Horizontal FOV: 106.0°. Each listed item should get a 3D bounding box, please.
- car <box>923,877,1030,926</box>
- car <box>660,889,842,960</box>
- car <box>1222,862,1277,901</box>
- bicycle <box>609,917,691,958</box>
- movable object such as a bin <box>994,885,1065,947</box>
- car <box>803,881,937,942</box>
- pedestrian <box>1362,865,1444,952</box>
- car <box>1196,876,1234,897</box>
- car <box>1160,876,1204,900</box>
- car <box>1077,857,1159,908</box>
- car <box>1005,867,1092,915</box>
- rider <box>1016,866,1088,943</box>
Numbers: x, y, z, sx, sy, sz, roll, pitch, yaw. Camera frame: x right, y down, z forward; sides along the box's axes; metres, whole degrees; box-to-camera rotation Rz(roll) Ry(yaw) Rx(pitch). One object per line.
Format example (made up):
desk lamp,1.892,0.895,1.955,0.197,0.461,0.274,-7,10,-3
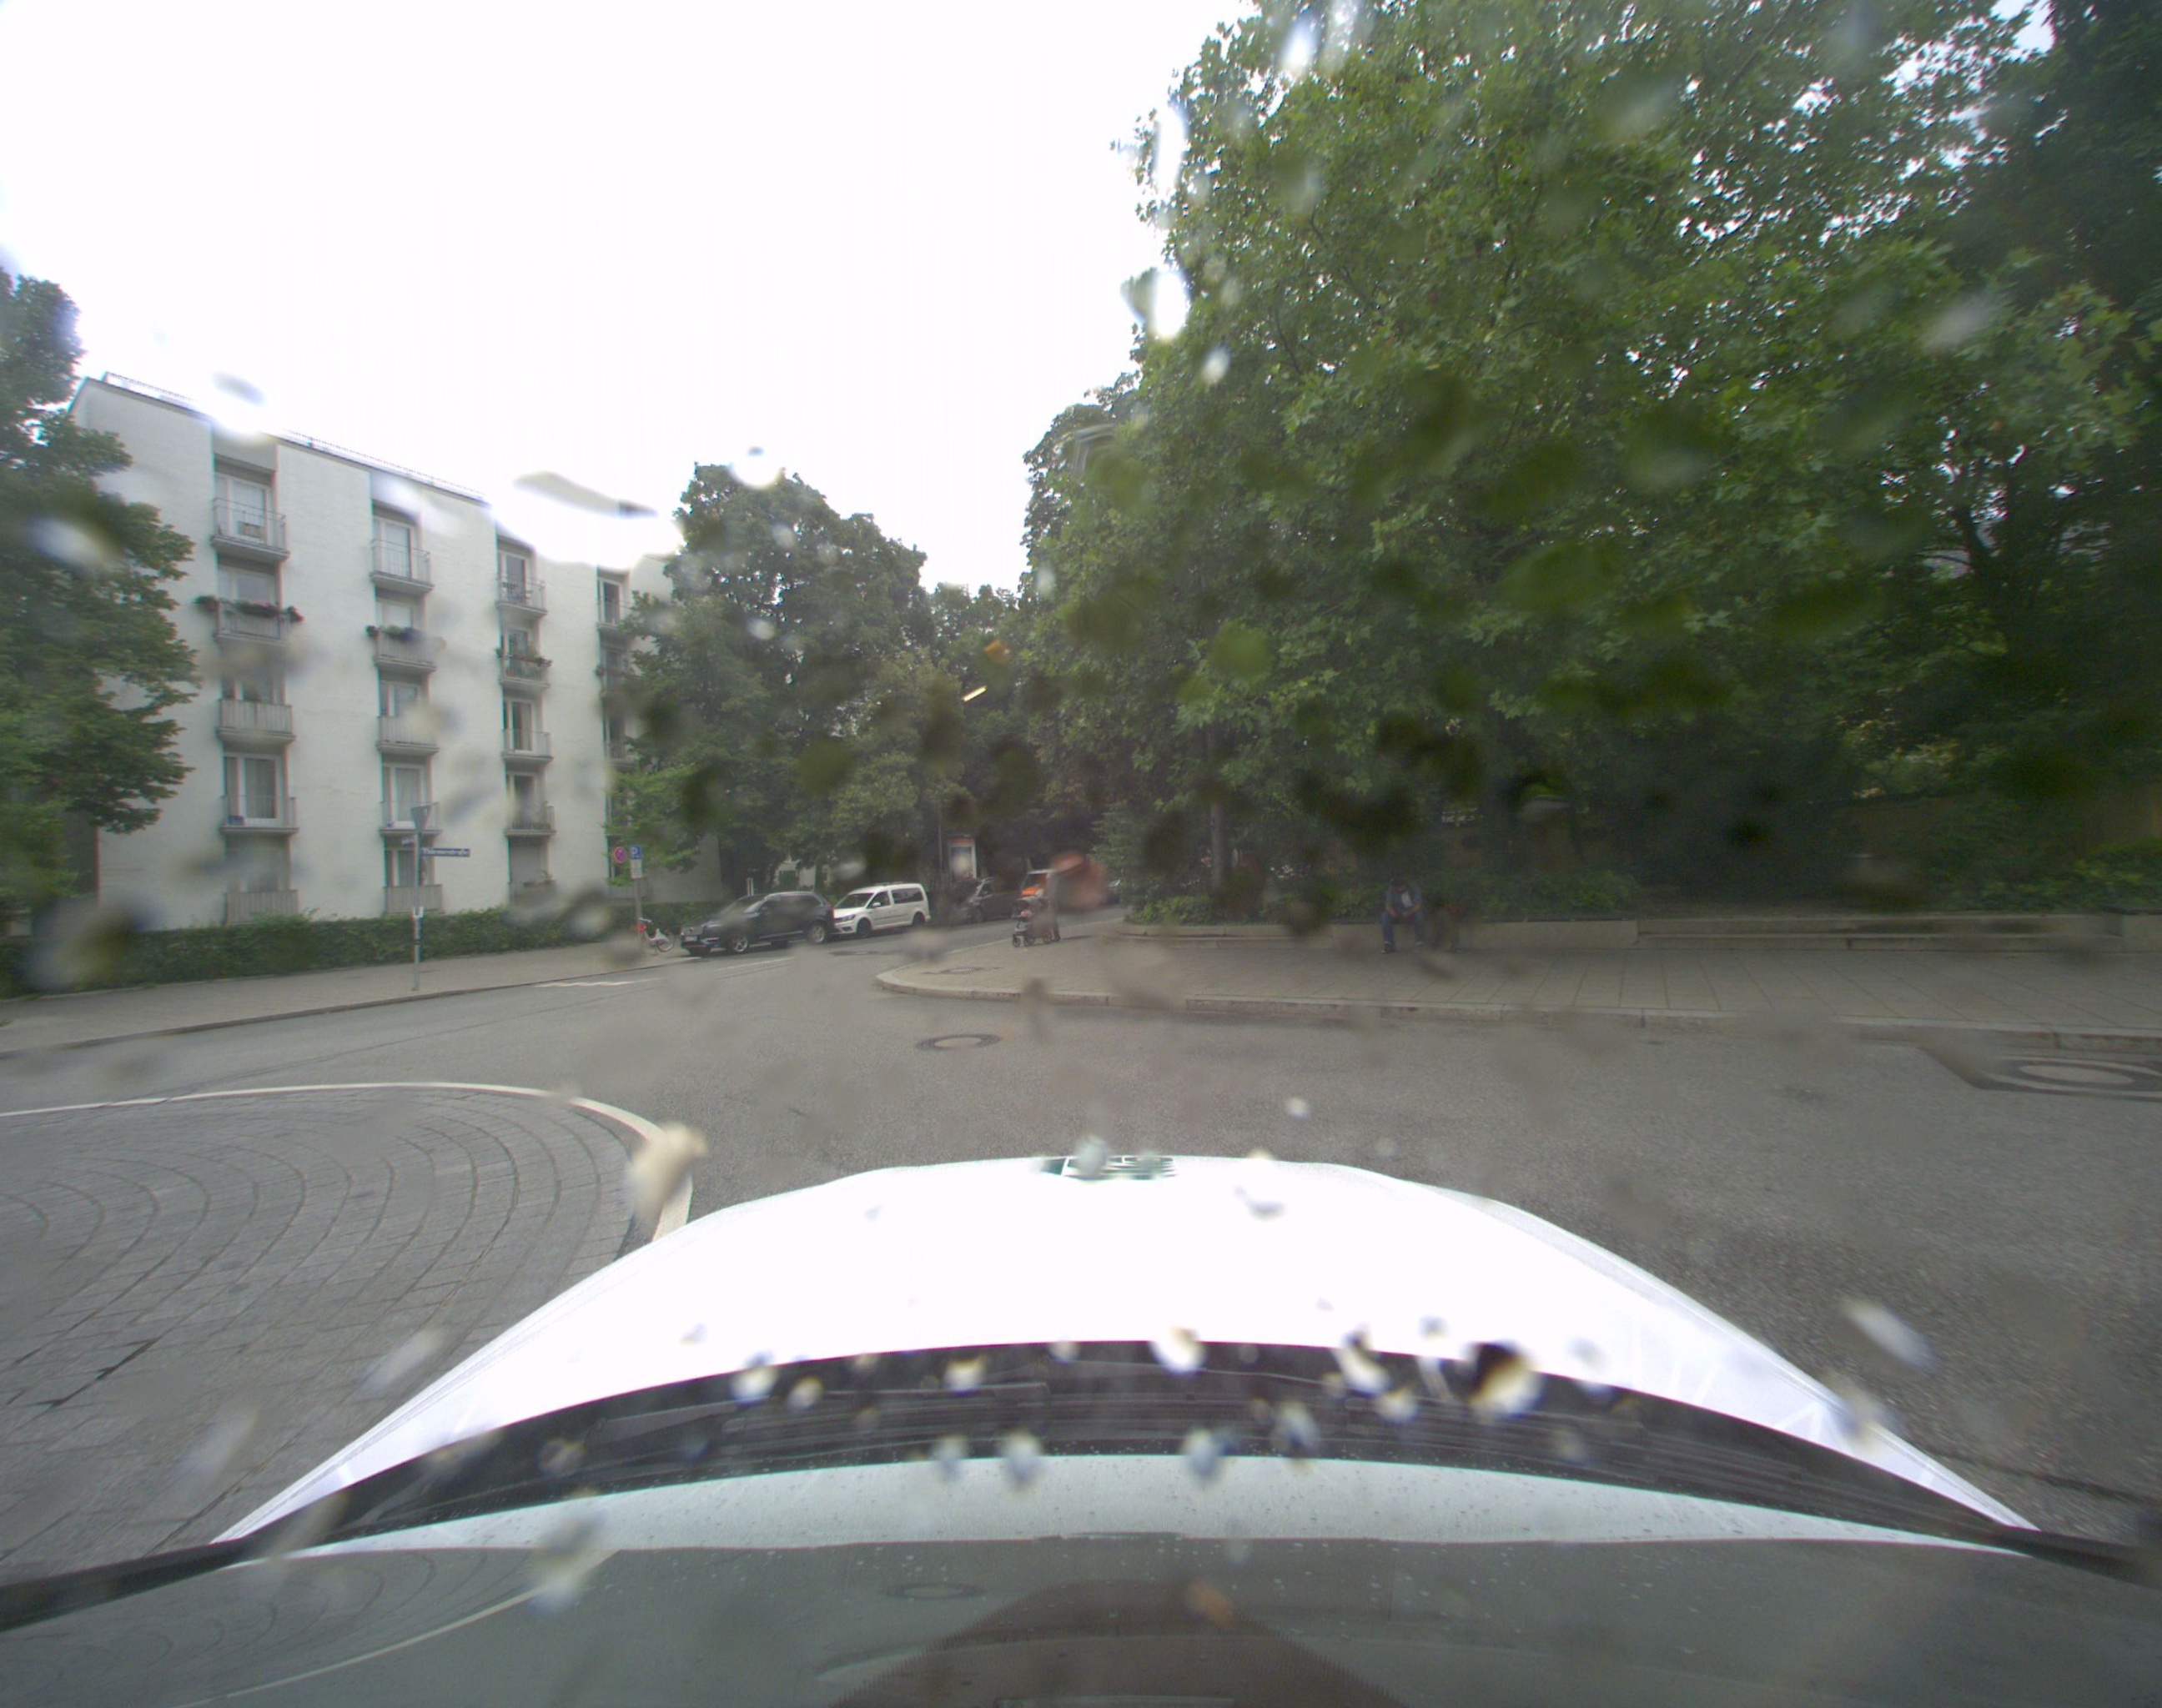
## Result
car,-4.487,2.047,35.825,2.045,1.859,5.016,-4,-2,28
car,-9.927,2.079,24.953,2.045,1.767,4.936,-4,-2,28
car,9.233,1.461,44.403,2.023,1.922,4.470,-4,-2,22
bicycle,-12.933,2.497,24.506,0.902,1.051,1.983,-4,-2,29
movable object such as a bin,-1.179,1.407,18.617,1.067,1.267,1.093,-8,-4,40
car,-7.606,2.042,29.858,1.908,1.895,4.896,-4,-2,27
pedestrian,4.720,0.780,11.915,0.804,1.189,0.925,-5,-3,39
car,11.316,2.714,68.497,1.878,1.571,4.098,-4,-2,27
car,7.591,2.526,60.717,1.878,1.538,4.098,-4,-2,27
car,2.434,1.698,50.817,2.313,2.922,6.618,-4,-2,28
car,-1.592,1.876,42.471,2.091,2.251,5.226,-4,-2,28
rider,-0.678,1.187,19.245,1.071,1.668,1.146,-8,-4,40
